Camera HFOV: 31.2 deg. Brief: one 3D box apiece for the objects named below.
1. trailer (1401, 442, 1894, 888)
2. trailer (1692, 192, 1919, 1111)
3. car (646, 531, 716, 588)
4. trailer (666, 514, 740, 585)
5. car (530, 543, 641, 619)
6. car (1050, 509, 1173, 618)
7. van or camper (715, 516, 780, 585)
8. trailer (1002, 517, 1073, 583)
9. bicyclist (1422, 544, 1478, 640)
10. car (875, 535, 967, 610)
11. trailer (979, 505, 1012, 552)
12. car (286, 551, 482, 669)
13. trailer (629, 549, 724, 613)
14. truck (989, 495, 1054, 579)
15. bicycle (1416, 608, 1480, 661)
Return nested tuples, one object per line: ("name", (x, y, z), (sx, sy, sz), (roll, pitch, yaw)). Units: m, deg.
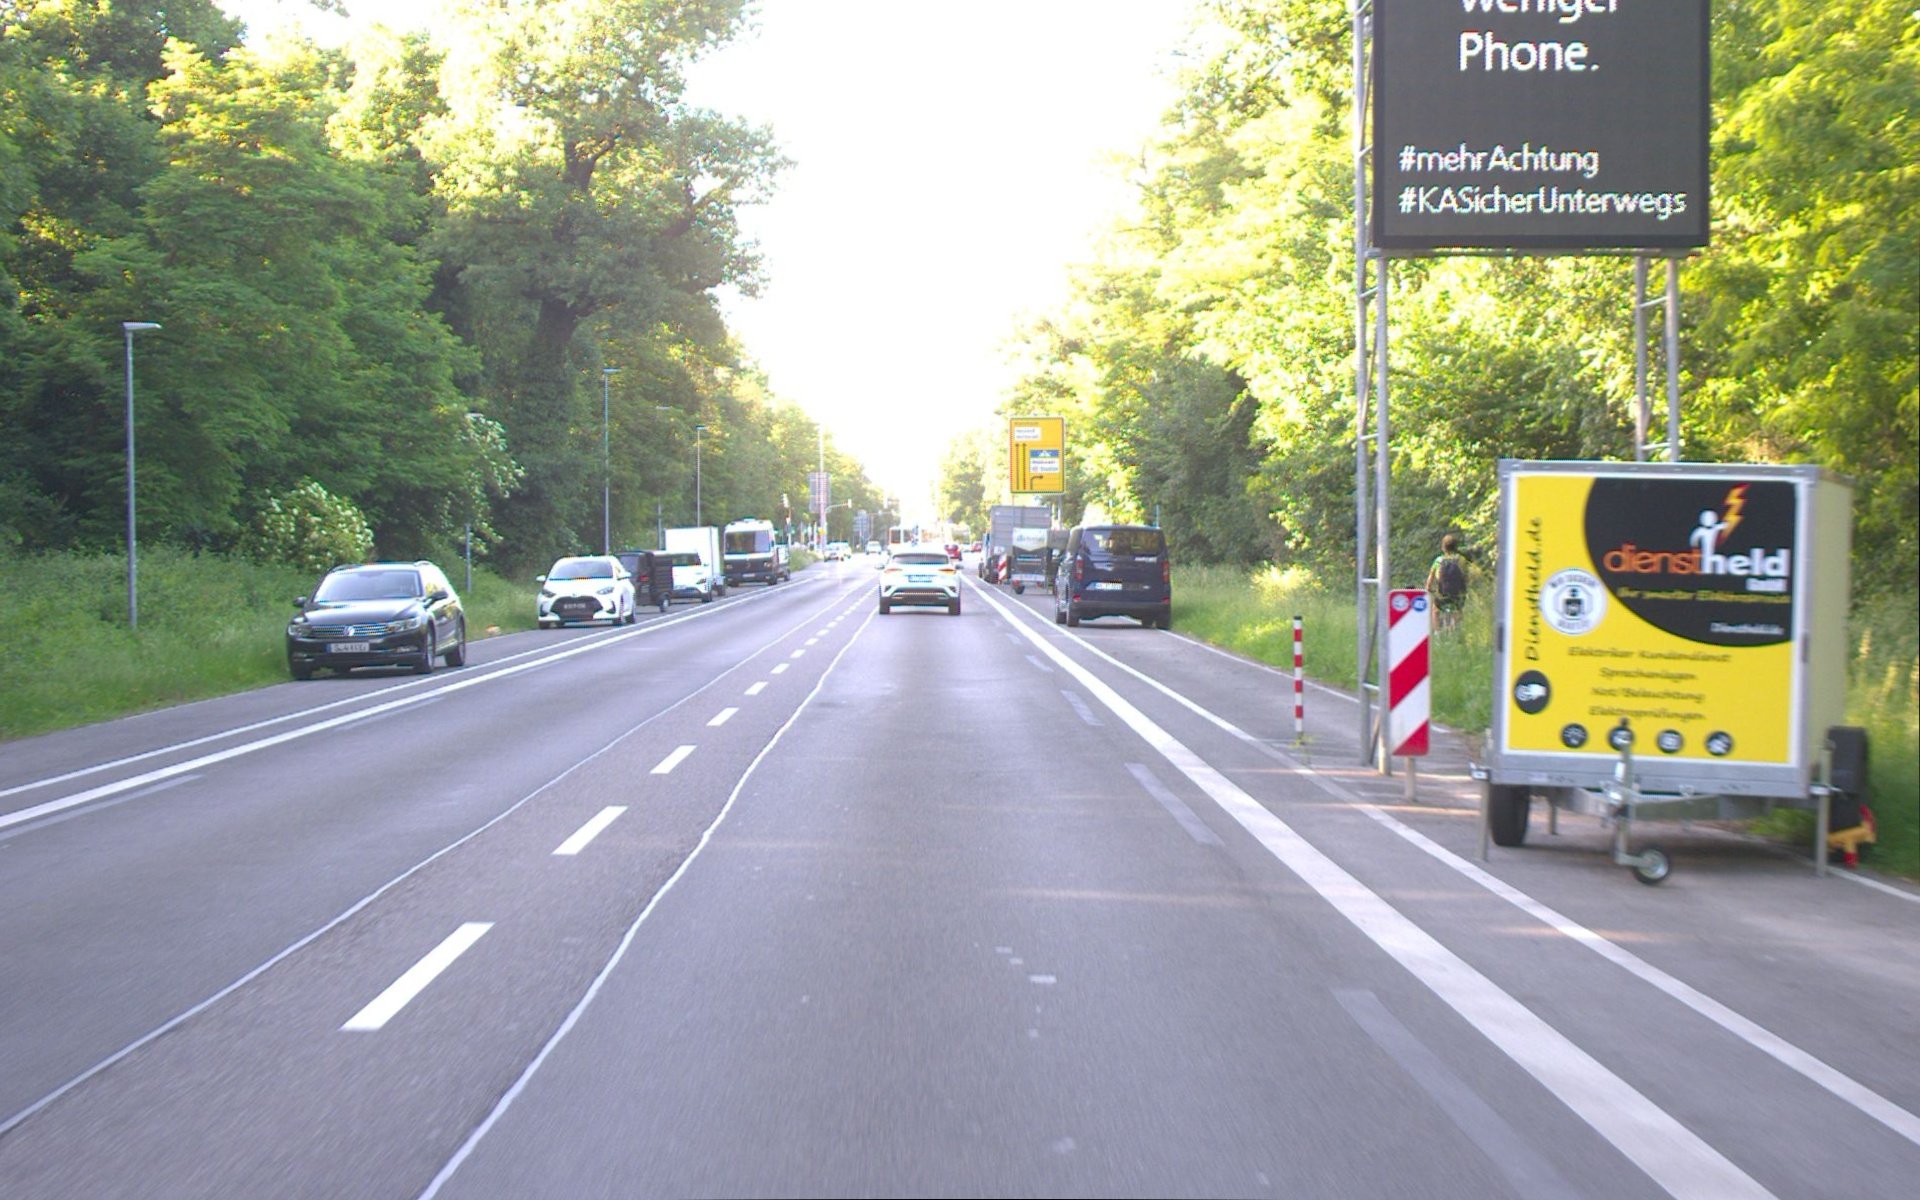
("trailer", (3.636, 0.247, 17.656), (1.964, 2.016, 3.840), (0, 1, 19))
("trailer", (3.411, 0.134, 10.043), (1.613, 2.500, 4.000), (1, 1, -1))
("car", (-8.148, -1.197, 100.576), (1.814, 1.566, 4.207), (-3, 1, -3))
("trailer", (-8.488, -1.673, 113.858), (2.075, 2.285, 3.486), (-1, 1, 1))
("car", (-7.871, -0.428, 72.601), (1.867, 1.445, 4.071), (-3, 1, 0))
("car", (2.927, -0.731, 67.555), (2.113, 2.007, 5.040), (2, 1, 0))
("van or camper", (-8.916, -2.093, 144.938), (2.302, 2.758, 5.557), (-3, 1, 0))
("trailer", (2.539, -1.642, 111.944), (1.616, 2.105, 2.394), (1, 1, 20))
("bicyclist", (6.875, -0.117, 48.284), (0.610, 1.320, 1.175), (0, 1, 0))
("car", (-0.877, -0.641, 77.386), (1.993, 1.634, 4.000), (-1, 1, -1))
("trailer", (1.701, -3.438, 165.267), (1.500, 2.228, 4.550), (1, 1, 0))
("car", (-7.623, 0.092, 45.914), (1.855, 1.459, 4.784), (0, 1, -1))
("trailer", (-7.145, -0.498, 86.819), (1.397, 1.568, 2.672), (0, 1, 20))
("truck", (2.504, -2.581, 141.737), (2.505, 3.355, 7.107), (1, 1, 0))
("bicycle", (6.860, 0.483, 48.380), (0.591, 0.690, 1.997), (0, 1, 0))
